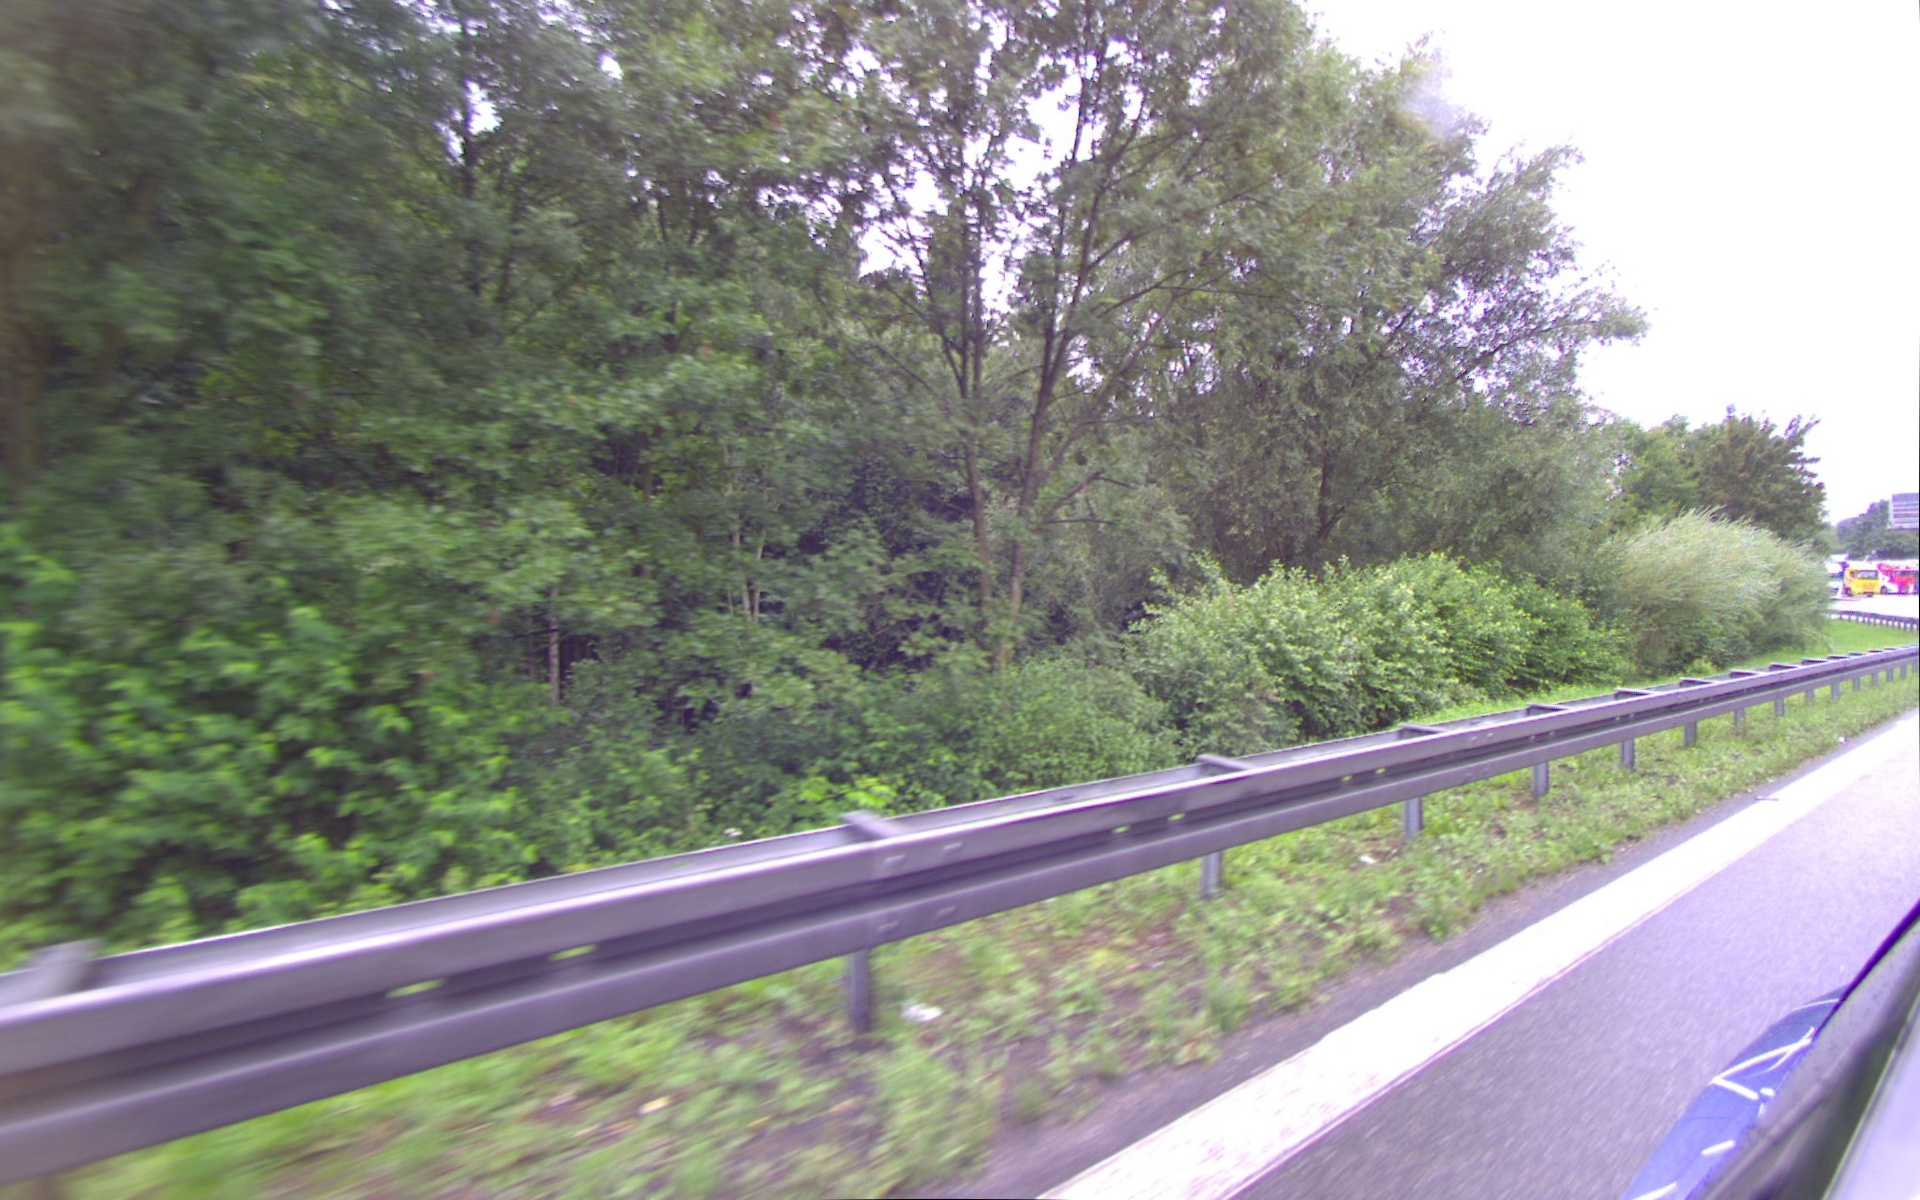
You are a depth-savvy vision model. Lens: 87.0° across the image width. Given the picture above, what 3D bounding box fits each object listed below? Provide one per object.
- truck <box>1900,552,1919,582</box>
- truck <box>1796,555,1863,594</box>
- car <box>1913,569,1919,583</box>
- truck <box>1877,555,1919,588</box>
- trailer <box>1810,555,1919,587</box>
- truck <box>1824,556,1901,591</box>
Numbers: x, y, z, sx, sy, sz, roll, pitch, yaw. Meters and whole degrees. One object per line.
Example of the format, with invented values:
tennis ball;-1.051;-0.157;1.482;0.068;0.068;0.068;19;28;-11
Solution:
truck;138.160;-4.684;143.379;3.190;4.141;7.928;0;2;6
truck;91.007;-2.645;106.033;2.784;3.961;5.399;0;1;8
car;133.487;-3.270;139.052;1.818;1.881;3.991;-1;1;9
truck;116.542;-3.522;124.467;3.190;3.967;5.015;0;2;7
trailer;117.318;-3.801;131.161;3.190;3.967;14.811;0;2;6
truck;104.814;-3.127;117.705;2.795;3.967;8.109;0;2;10
